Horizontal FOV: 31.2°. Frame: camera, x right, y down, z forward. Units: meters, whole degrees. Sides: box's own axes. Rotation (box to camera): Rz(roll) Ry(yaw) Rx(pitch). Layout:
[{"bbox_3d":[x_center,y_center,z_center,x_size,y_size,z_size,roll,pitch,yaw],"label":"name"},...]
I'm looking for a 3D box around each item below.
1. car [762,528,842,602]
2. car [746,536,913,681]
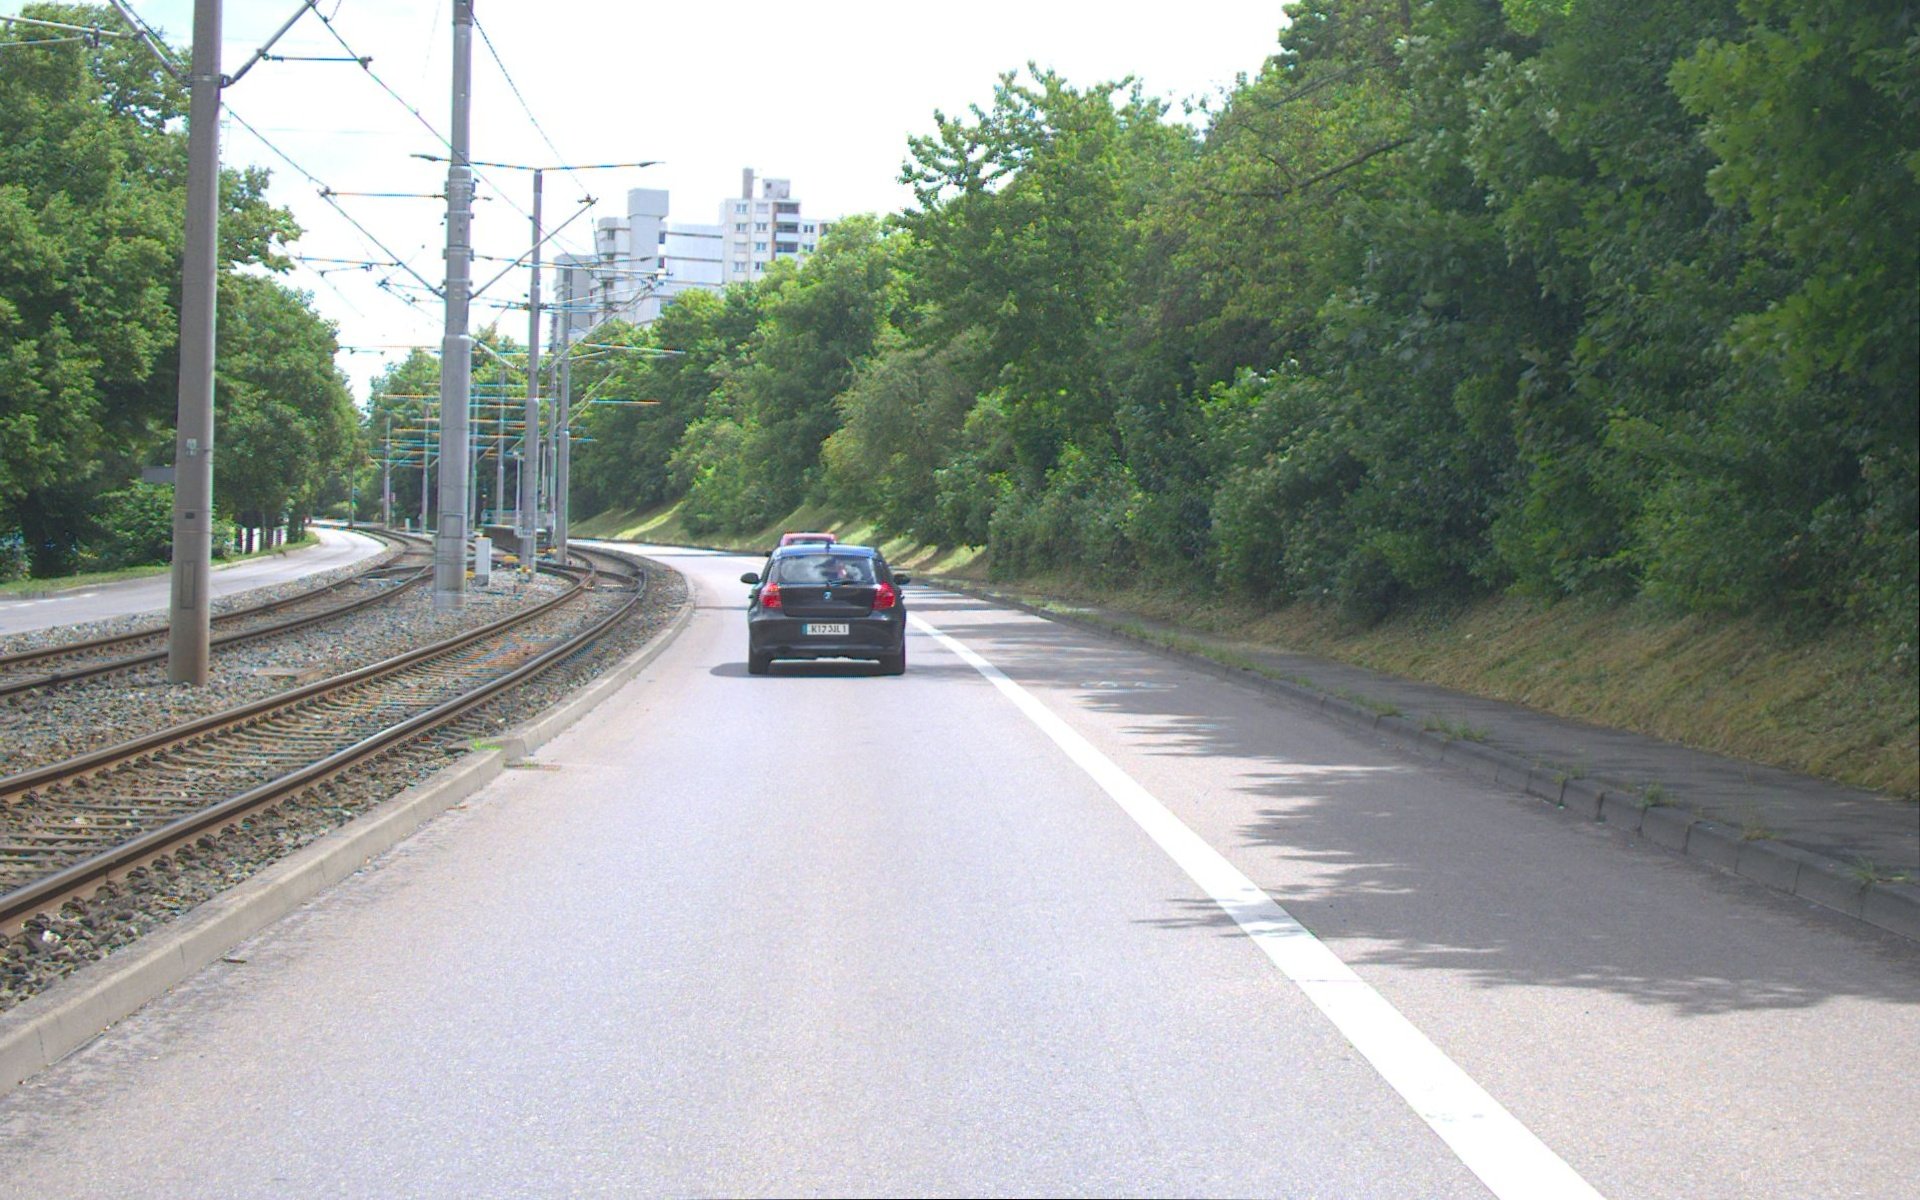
[{"bbox_3d":[-3.424,-0.741,74.968,1.624,1.438,3.421,2,-1,-2],"label":"car"},{"bbox_3d":[-1.418,0.084,38.557,1.708,1.455,3.960,3,0,-1],"label":"car"}]
